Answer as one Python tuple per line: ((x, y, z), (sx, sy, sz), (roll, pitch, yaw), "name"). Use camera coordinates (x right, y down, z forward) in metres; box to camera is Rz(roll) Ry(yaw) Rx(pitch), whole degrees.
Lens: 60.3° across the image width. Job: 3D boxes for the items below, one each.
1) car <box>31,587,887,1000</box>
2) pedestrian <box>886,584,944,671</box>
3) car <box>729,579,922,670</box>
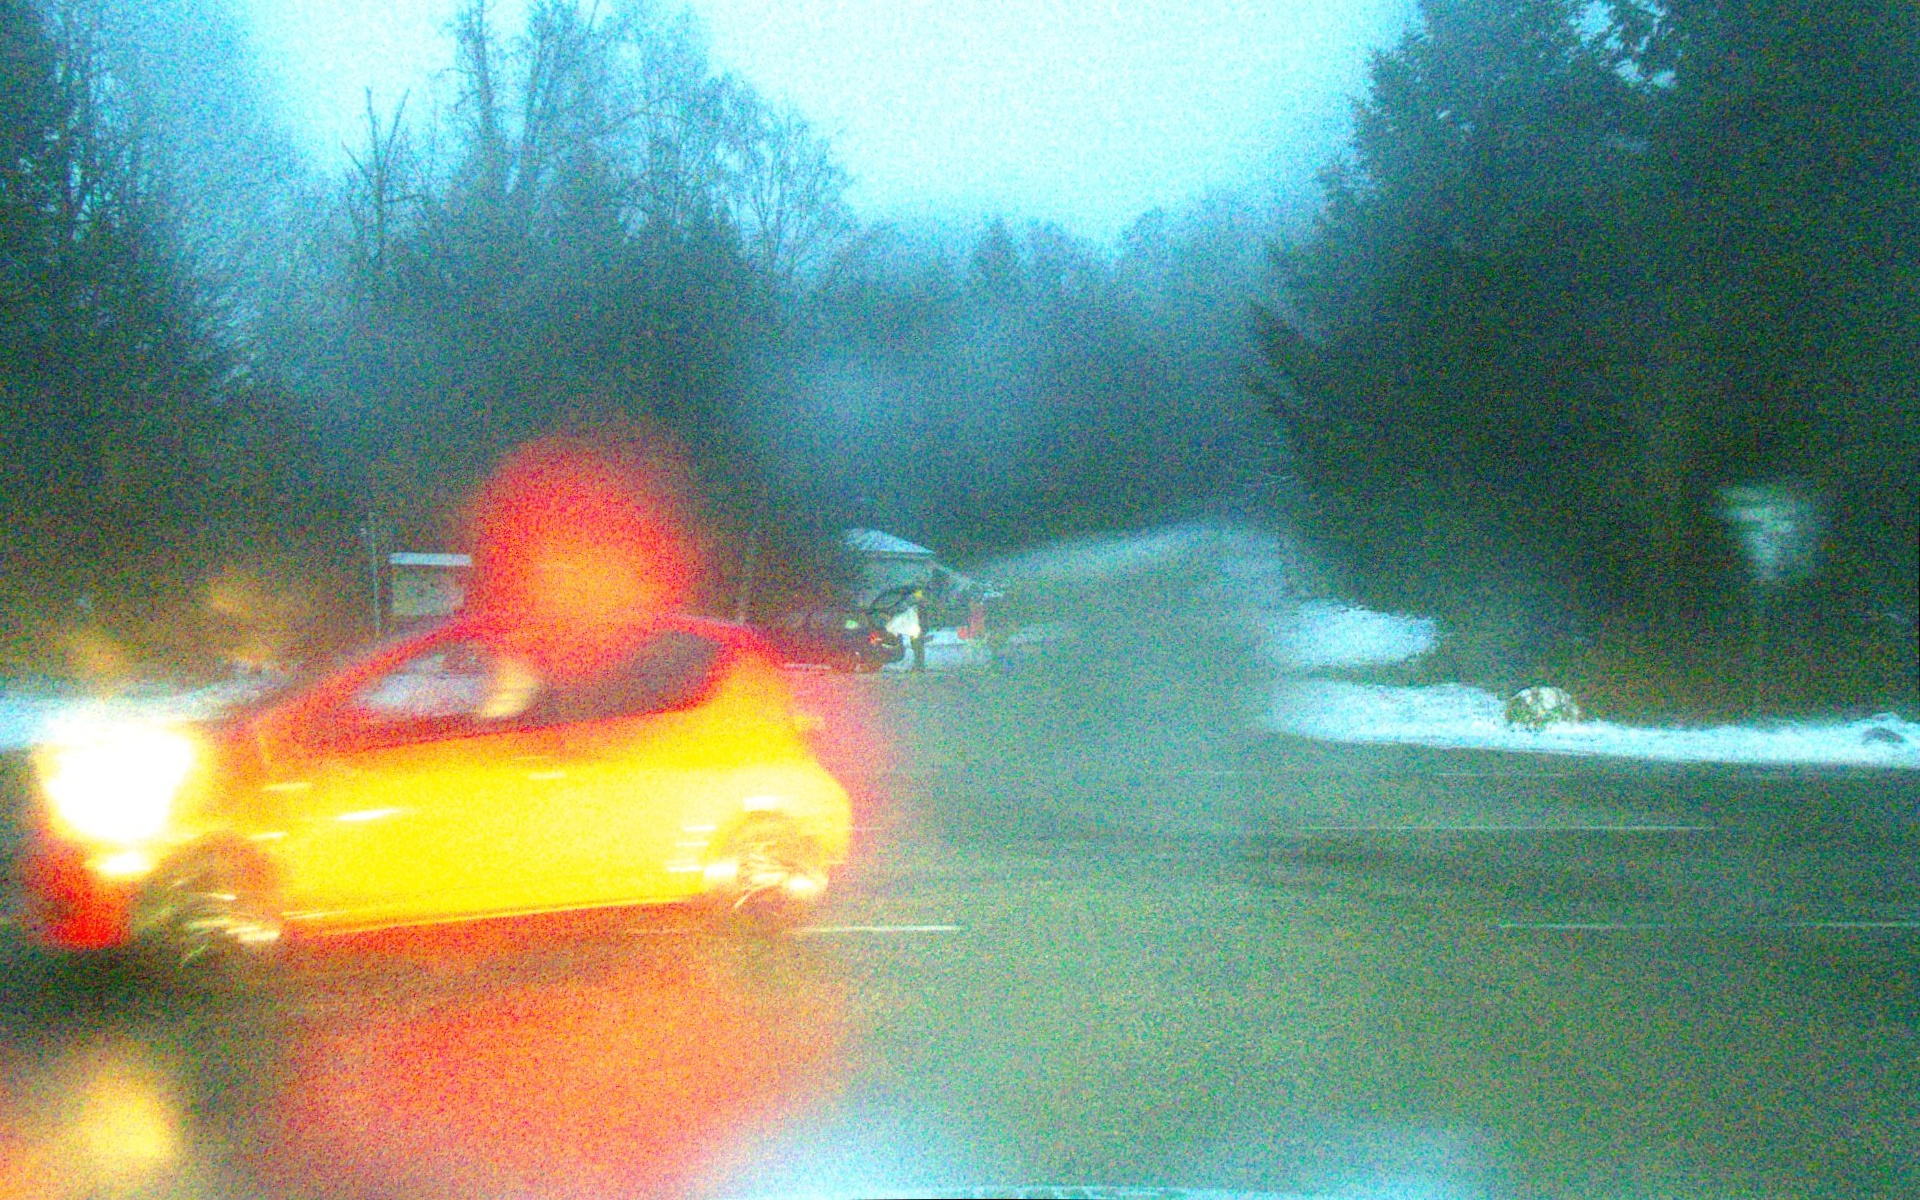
((-2.173, 0.717, 7.411), (3.362, 1.478, 1.563), (1, 0, -27), "car")
((-0.977, 0.599, 36.264), (0.941, 1.860, 0.925), (1, -2, 21), "pedestrian")
((-3.015, 0.549, 37.472), (3.863, 1.914, 2.001), (1, -1, 16), "car")
